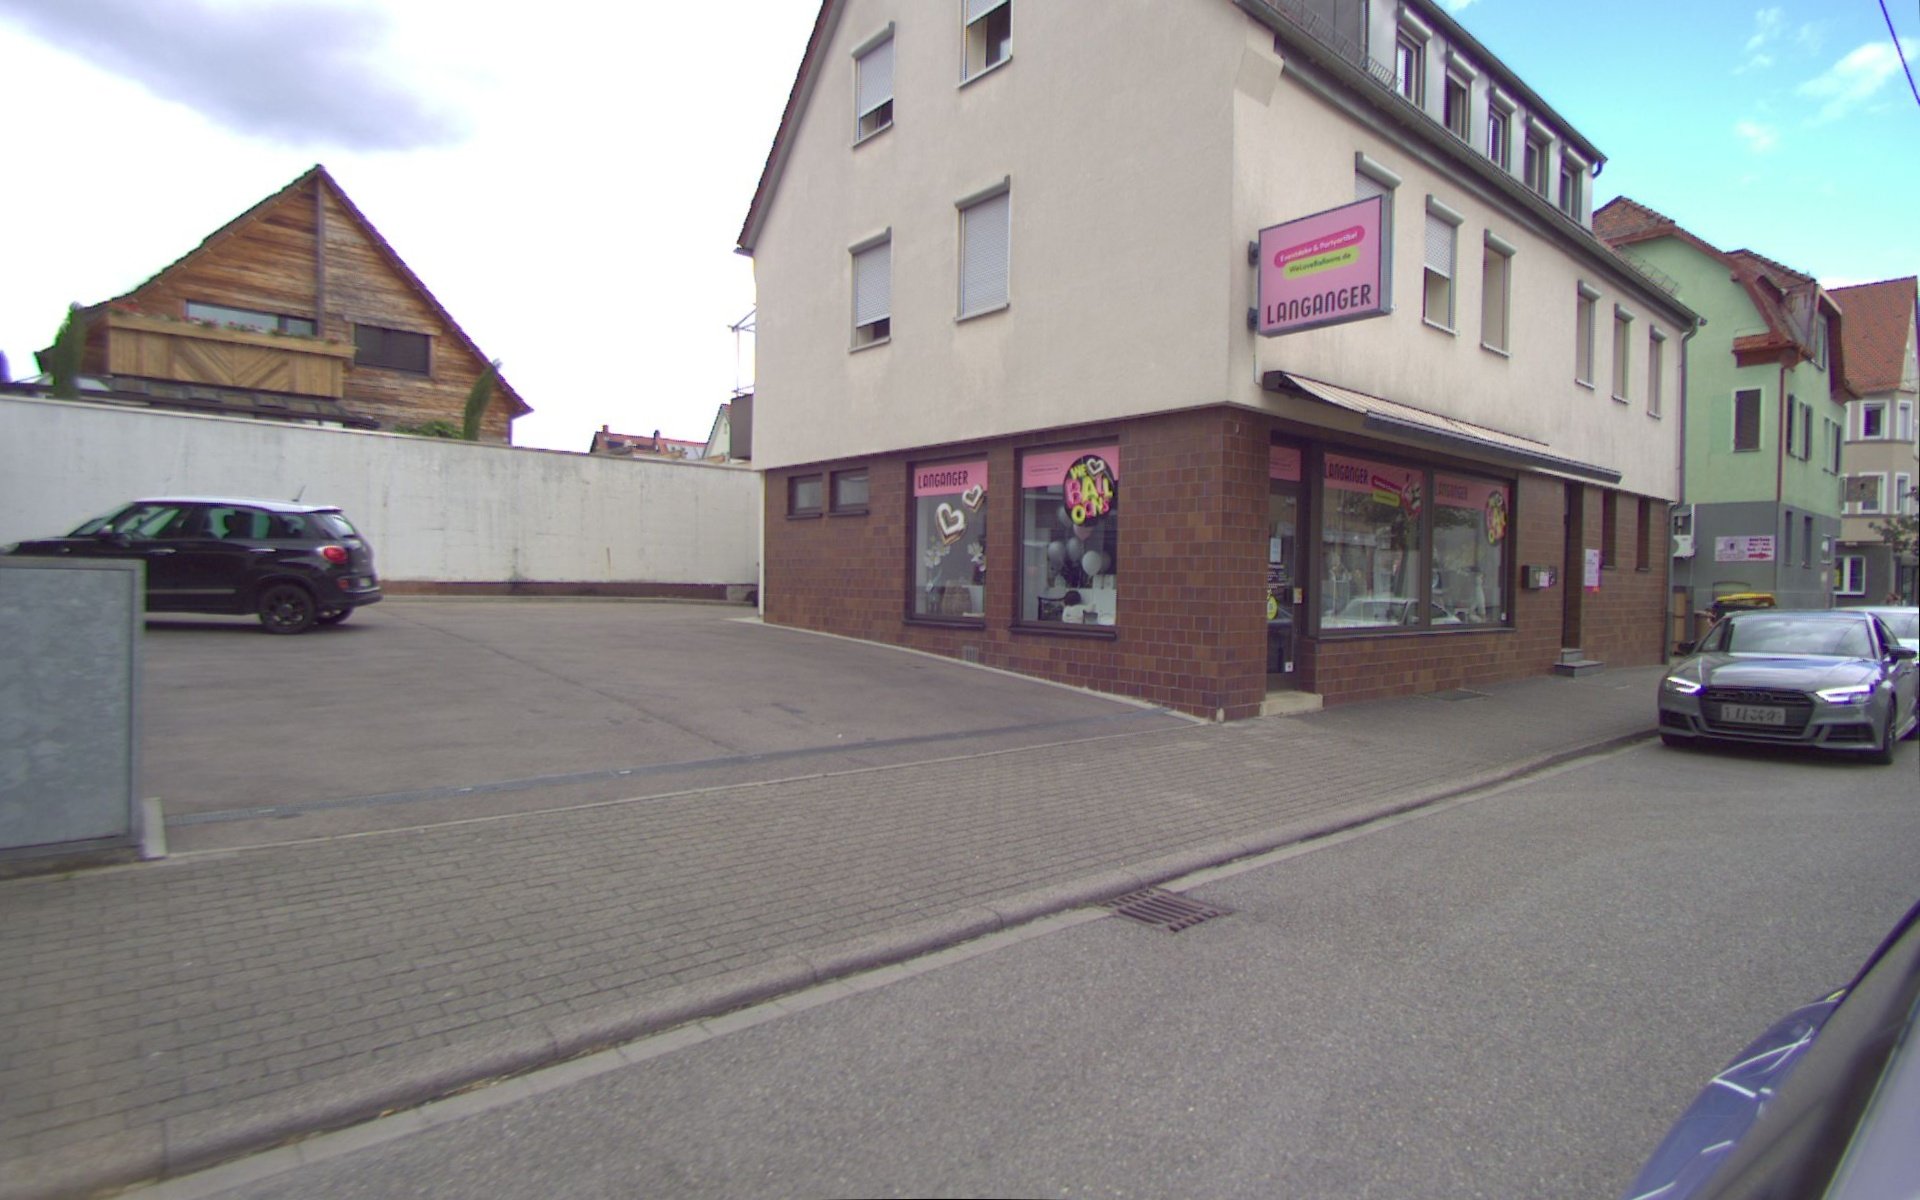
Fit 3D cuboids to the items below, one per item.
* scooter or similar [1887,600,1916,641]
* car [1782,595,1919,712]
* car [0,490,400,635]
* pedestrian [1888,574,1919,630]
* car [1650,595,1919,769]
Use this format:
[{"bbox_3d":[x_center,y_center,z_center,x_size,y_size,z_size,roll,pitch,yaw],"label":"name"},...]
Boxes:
[{"bbox_3d":[29.549,0.622,31.753,0.876,1.248,0.590,0,0,-41],"label":"scooter or similar"},{"bbox_3d":[13.462,0.670,14.581,4.256,1.464,1.834,0,0,-41],"label":"car"},{"bbox_3d":[-9.692,-0.487,13.087,3.916,1.674,1.932,1,4,-14],"label":"car"},{"bbox_3d":[30.233,0.057,32.340,0.884,1.741,0.752,0,0,-41],"label":"pedestrian"},{"bbox_3d":[8.834,0.680,10.603,4.040,1.464,1.833,0,0,-43],"label":"car"}]
